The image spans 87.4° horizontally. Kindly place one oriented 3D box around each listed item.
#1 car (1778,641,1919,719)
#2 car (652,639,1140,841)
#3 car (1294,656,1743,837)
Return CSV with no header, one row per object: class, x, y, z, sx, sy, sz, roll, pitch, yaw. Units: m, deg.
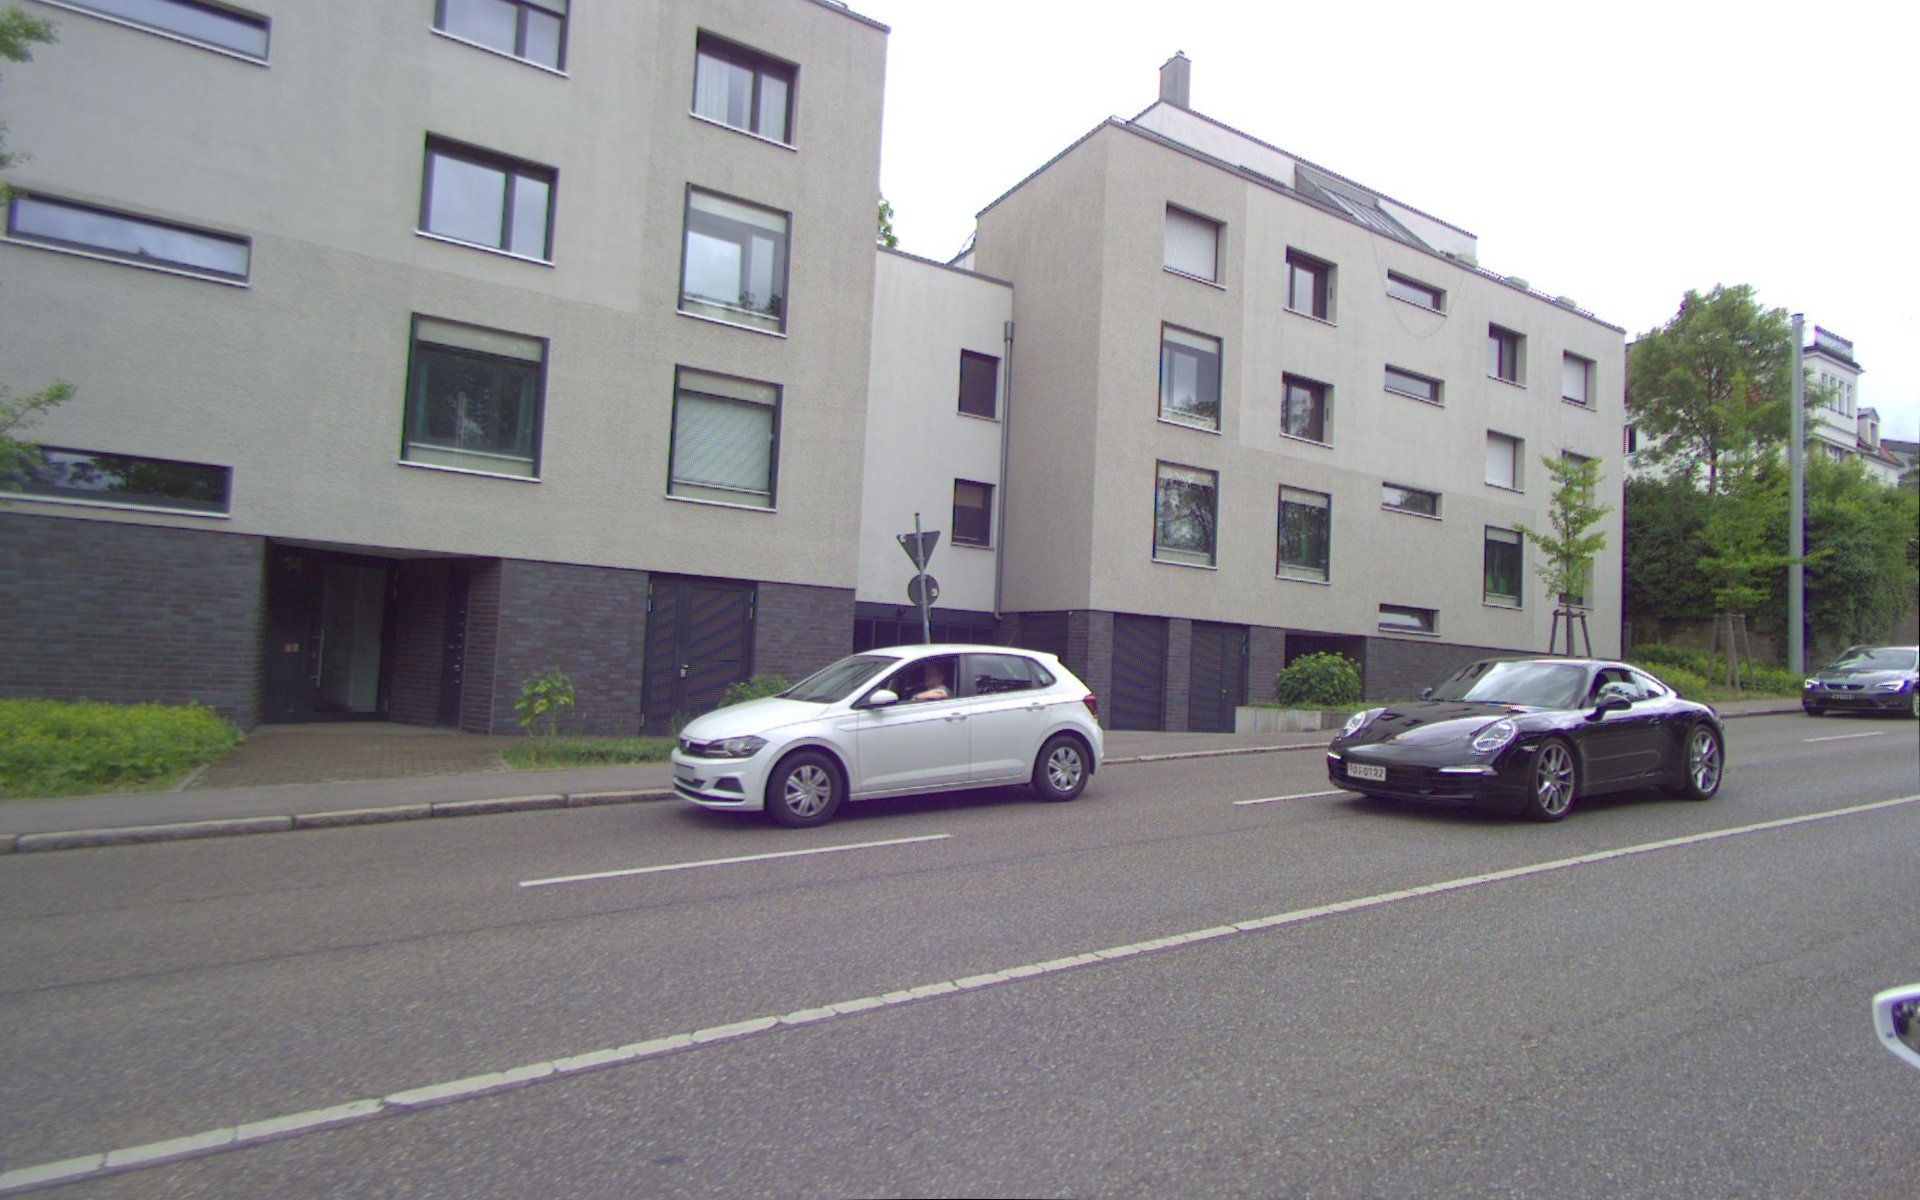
car,19.143,1.612,20.998,4.372,1.483,1.725,1,-3,-31
car,-0.518,1.109,9.235,4.142,1.483,1.765,1,-3,-30
car,5.181,1.173,9.204,4.142,1.285,1.745,1,-3,-30
